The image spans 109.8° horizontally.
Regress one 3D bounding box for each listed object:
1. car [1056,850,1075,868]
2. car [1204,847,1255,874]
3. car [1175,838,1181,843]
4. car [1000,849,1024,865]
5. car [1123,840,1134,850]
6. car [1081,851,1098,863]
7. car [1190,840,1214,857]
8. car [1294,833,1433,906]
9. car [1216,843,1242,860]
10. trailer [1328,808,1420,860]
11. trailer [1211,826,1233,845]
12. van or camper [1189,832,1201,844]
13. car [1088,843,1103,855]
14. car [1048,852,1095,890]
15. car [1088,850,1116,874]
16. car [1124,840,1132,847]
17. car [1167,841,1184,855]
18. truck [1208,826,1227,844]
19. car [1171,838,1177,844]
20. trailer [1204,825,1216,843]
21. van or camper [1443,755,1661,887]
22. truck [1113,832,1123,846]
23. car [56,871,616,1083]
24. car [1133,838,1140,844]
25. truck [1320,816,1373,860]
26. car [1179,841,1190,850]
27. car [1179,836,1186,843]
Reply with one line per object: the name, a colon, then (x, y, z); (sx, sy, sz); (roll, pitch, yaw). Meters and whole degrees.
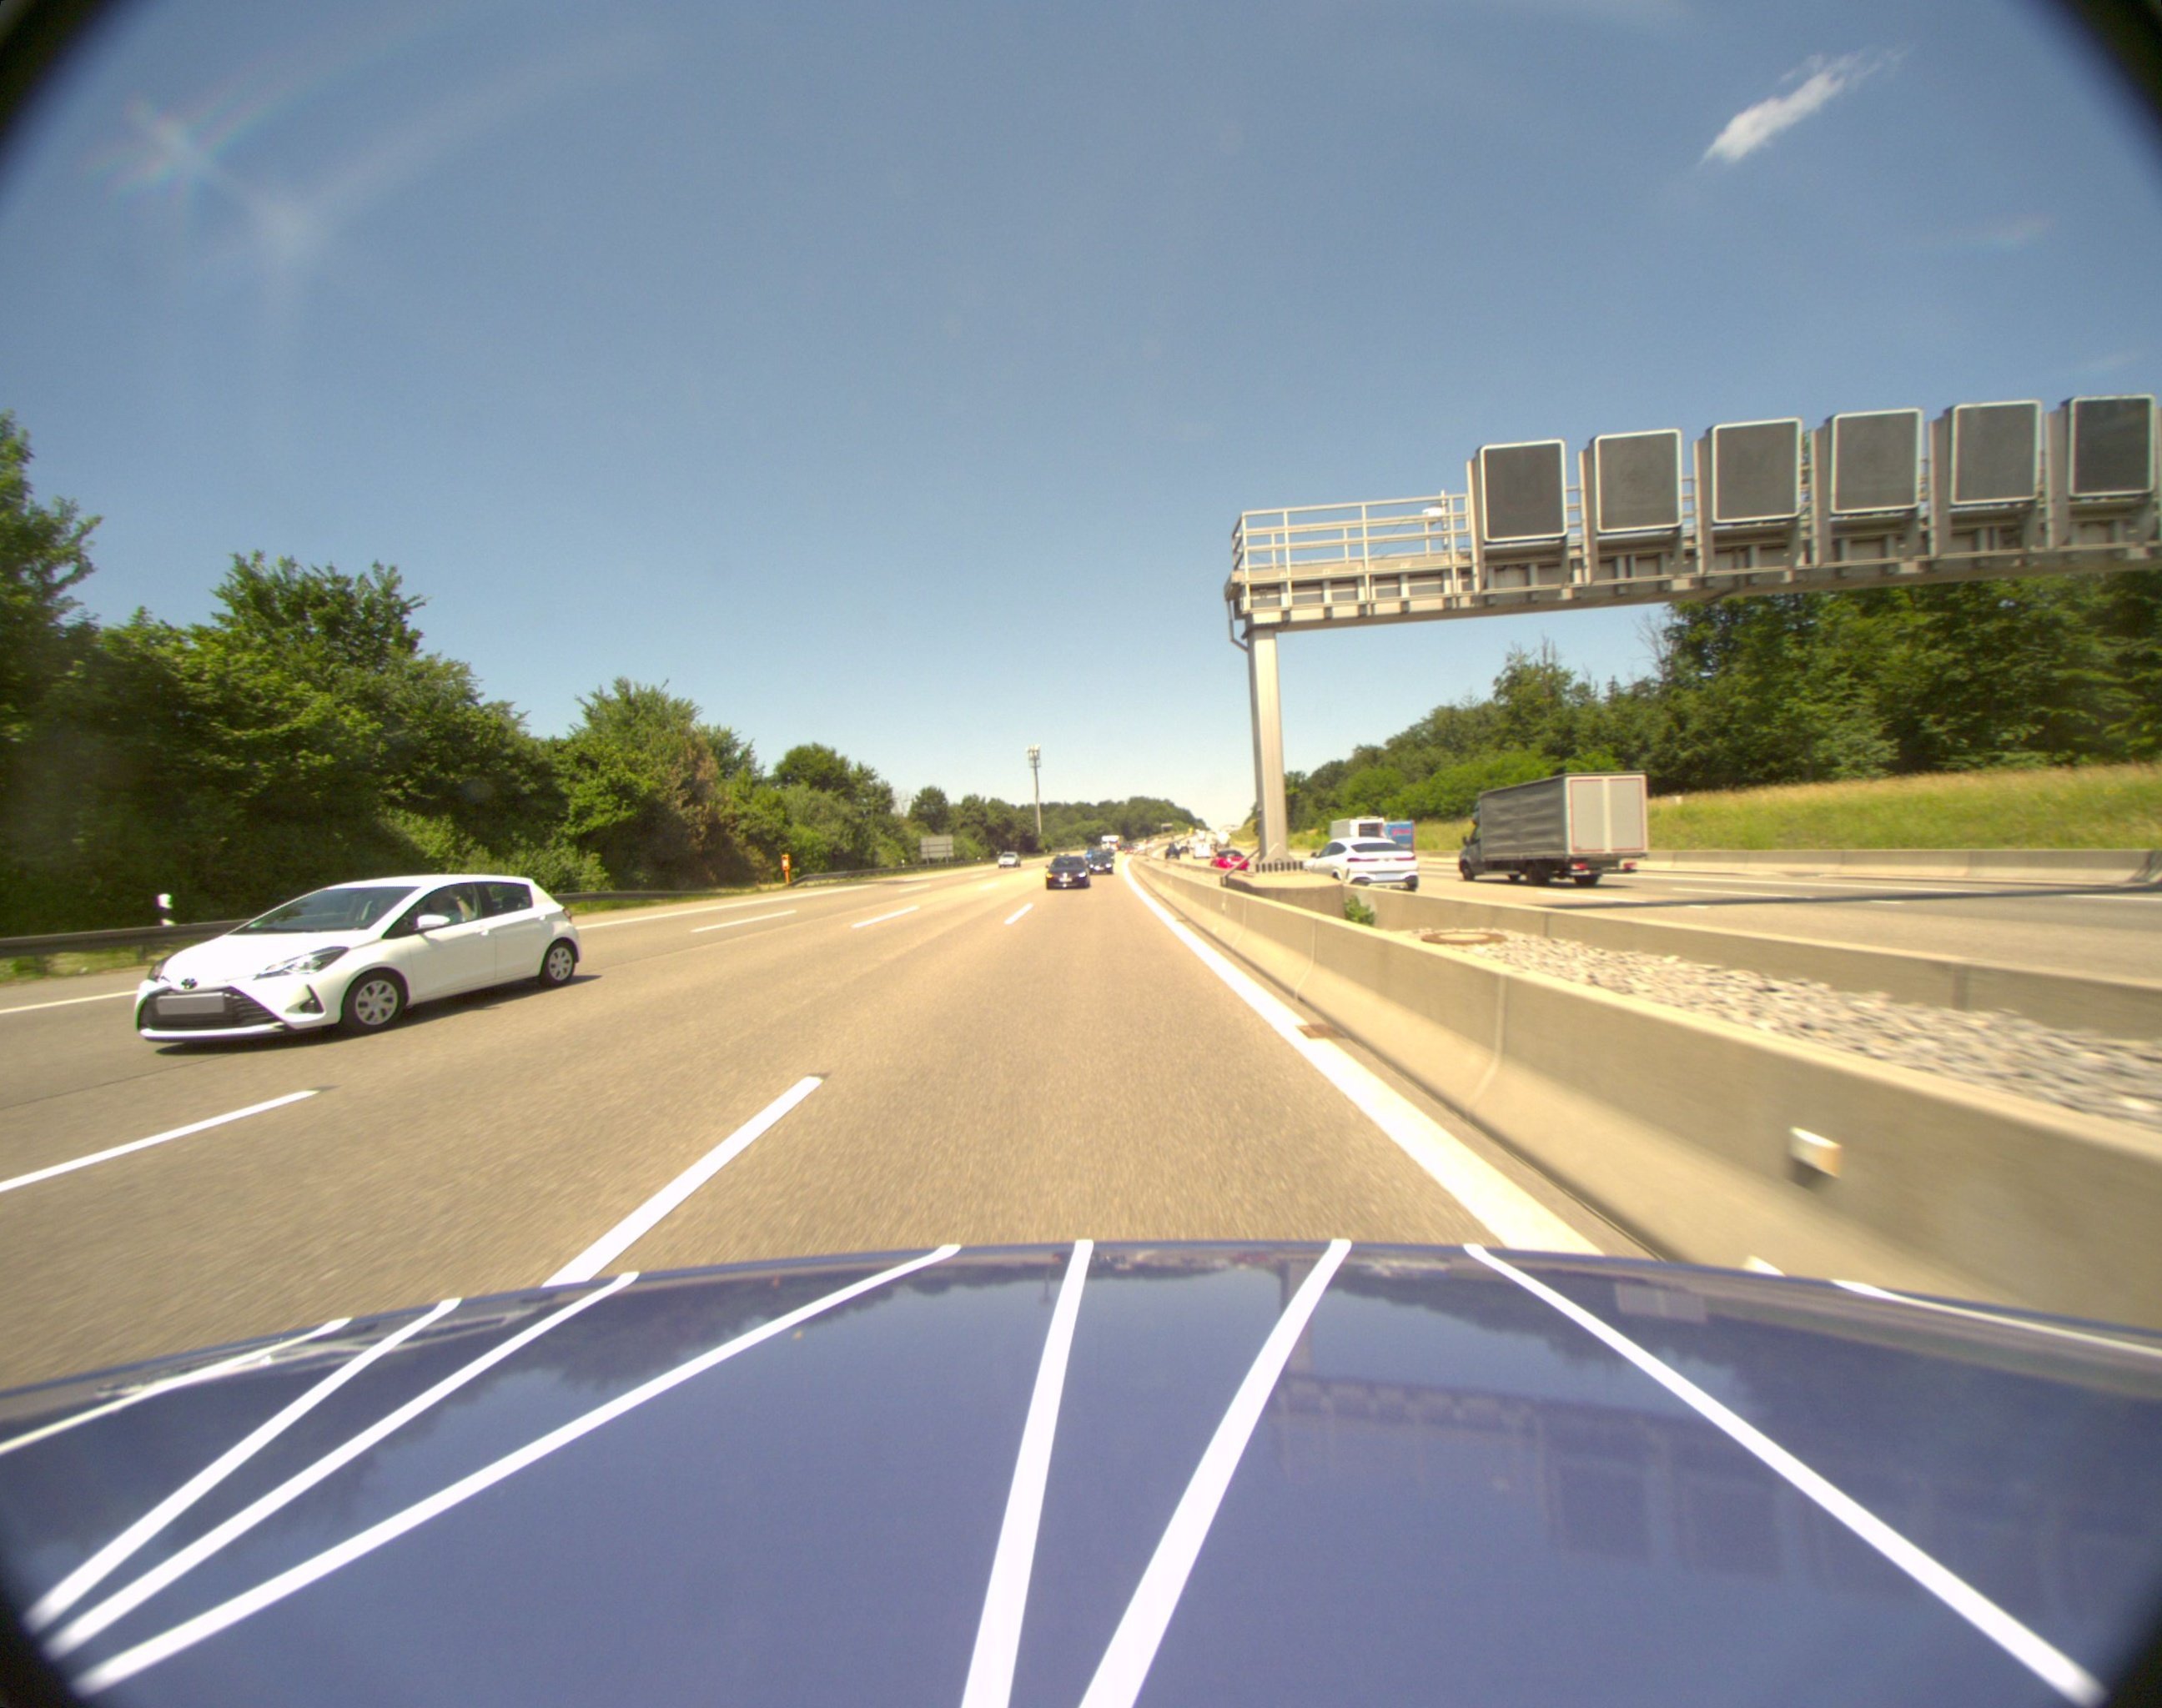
car: (-1.469, 0.474, 73.877); (1.730, 1.521, 3.741); (-2, 1, 0)
car: (8.636, 0.340, 44.659); (2.053, 1.434, 5.220); (-2, 1, 1)
car: (32.517, -4.391, 254.898); (1.876, 1.624, 5.165); (-2, 1, 6)
car: (-7.458, 0.322, 82.424); (1.998, 1.521, 4.000); (-2, 1, 3)
car: (10.029, -1.878, 160.289); (1.998, 2.002, 4.001); (-3, 0, 3)
car: (1.259, 0.451, 109.753); (1.998, 1.521, 4.234); (-3, 2, 4)
car: (15.793, -0.745, 99.606); (2.201, 2.043, 7.140); (-2, 1, 2)
car: (7.737, 0.355, 21.481); (1.993, 1.727, 5.344); (-3, 1, 1)
car: (13.336, -0.228, 68.673); (1.704, 1.394, 4.350); (-2, 2, 2)
trailer: (20.171, -1.394, 53.107); (2.481, 3.136, 10.477); (-3, 2, 2)
trailer: (27.756, -3.752, 150.109); (2.657, 3.515, 10.493); (-3, 2, 3)
van or camper: (30.133, -4.264, 201.073); (2.564, 2.914, 7.351); (-2, 1, 6)
car: (2.423, -0.874, 129.838); (1.997, 2.002, 4.001); (-3, 2, 8)
car: (-0.377, 0.707, 33.816); (1.760, 1.431, 4.000); (-2, 1, 3)
car: (1.457, 0.527, 52.005); (1.769, 1.495, 4.001); (-3, -1, 3)
car: (12.544, -2.799, 201.994); (1.998, 1.848, 4.000); (-3, 2, 4)
car: (12.196, -0.785, 98.554); (1.831, 1.652, 4.916); (-3, 2, 4)
truck: (28.039, -3.905, 156.308); (2.710, 3.523, 6.620); (-3, 2, 3)
car: (27.728, -3.957, 227.523); (1.677, 1.488, 4.953); (-3, 2, 6)
trailer: (34.821, -5.425, 204.779); (3.037, 4.336, 14.282); (-3, 2, 10)
van or camper: (15.186, -0.965, 25.382); (2.436, 3.657, 7.757); (-2, 1, 0)
truck: (10.068, -4.139, 207.842); (2.434, 3.458, 7.022); (-3, 2, 4)
car: (-7.548, 1.077, 8.544); (1.754, 1.510, 4.483); (-2, 1, 1)
car: (17.645, -4.098, 240.792); (1.998, 2.002, 4.000); (-3, 2, 3)
truck: (20.312, -1.210, 58.332); (2.494, 3.148, 4.401); (-3, 1, 1)
car: (19.522, -1.556, 143.374); (1.679, 1.518, 4.610); (-3, 2, 3)
car: (30.887, -4.348, 230.954); (2.007, 2.002, 5.186); (-2, 1, 6)
